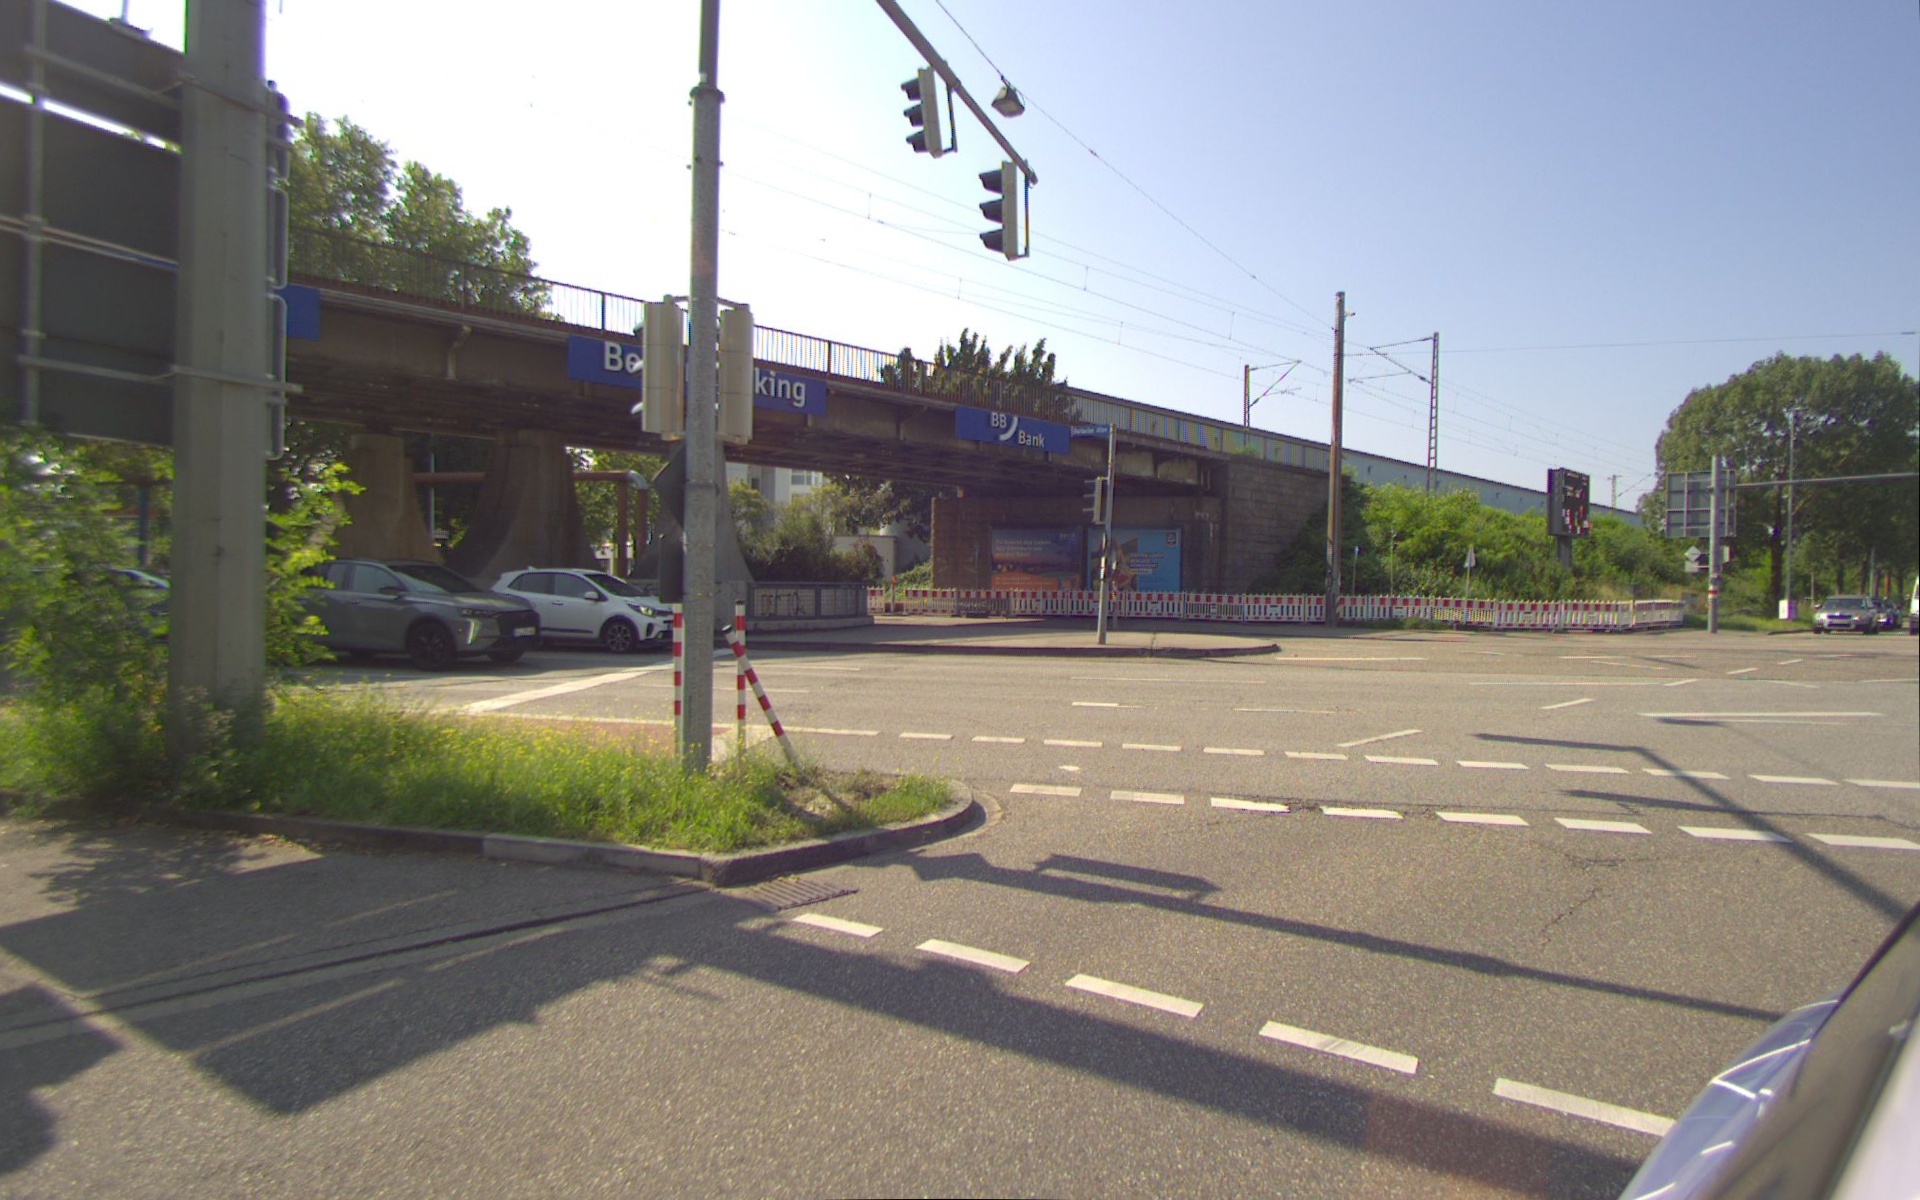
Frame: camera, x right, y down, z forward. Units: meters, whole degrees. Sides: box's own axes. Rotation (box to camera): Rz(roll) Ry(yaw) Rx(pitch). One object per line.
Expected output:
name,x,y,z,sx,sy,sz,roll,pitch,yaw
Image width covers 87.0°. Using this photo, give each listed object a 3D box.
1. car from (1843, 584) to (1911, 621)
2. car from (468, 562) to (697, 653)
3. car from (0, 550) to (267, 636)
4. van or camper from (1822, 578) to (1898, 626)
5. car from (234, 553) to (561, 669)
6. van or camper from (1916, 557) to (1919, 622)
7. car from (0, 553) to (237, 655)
car,41.093,0.092,45.322,3.934,1.571,1.995,-1,0,-44
car,-6.933,0.094,18.763,3.635,1.557,1.723,1,2,9
car,-16.993,-0.163,20.856,4.277,1.488,1.995,3,1,9
van or camper,36.431,0.128,40.938,4.102,1.799,1.848,2,-2,-42
car,-8.727,0.092,15.806,4.410,1.637,1.899,1,2,15
van or camper,40.459,-0.319,40.825,6.747,2.515,2.245,2,-2,-43
car,-15.144,0.005,17.406,4.276,1.540,1.996,2,3,9
